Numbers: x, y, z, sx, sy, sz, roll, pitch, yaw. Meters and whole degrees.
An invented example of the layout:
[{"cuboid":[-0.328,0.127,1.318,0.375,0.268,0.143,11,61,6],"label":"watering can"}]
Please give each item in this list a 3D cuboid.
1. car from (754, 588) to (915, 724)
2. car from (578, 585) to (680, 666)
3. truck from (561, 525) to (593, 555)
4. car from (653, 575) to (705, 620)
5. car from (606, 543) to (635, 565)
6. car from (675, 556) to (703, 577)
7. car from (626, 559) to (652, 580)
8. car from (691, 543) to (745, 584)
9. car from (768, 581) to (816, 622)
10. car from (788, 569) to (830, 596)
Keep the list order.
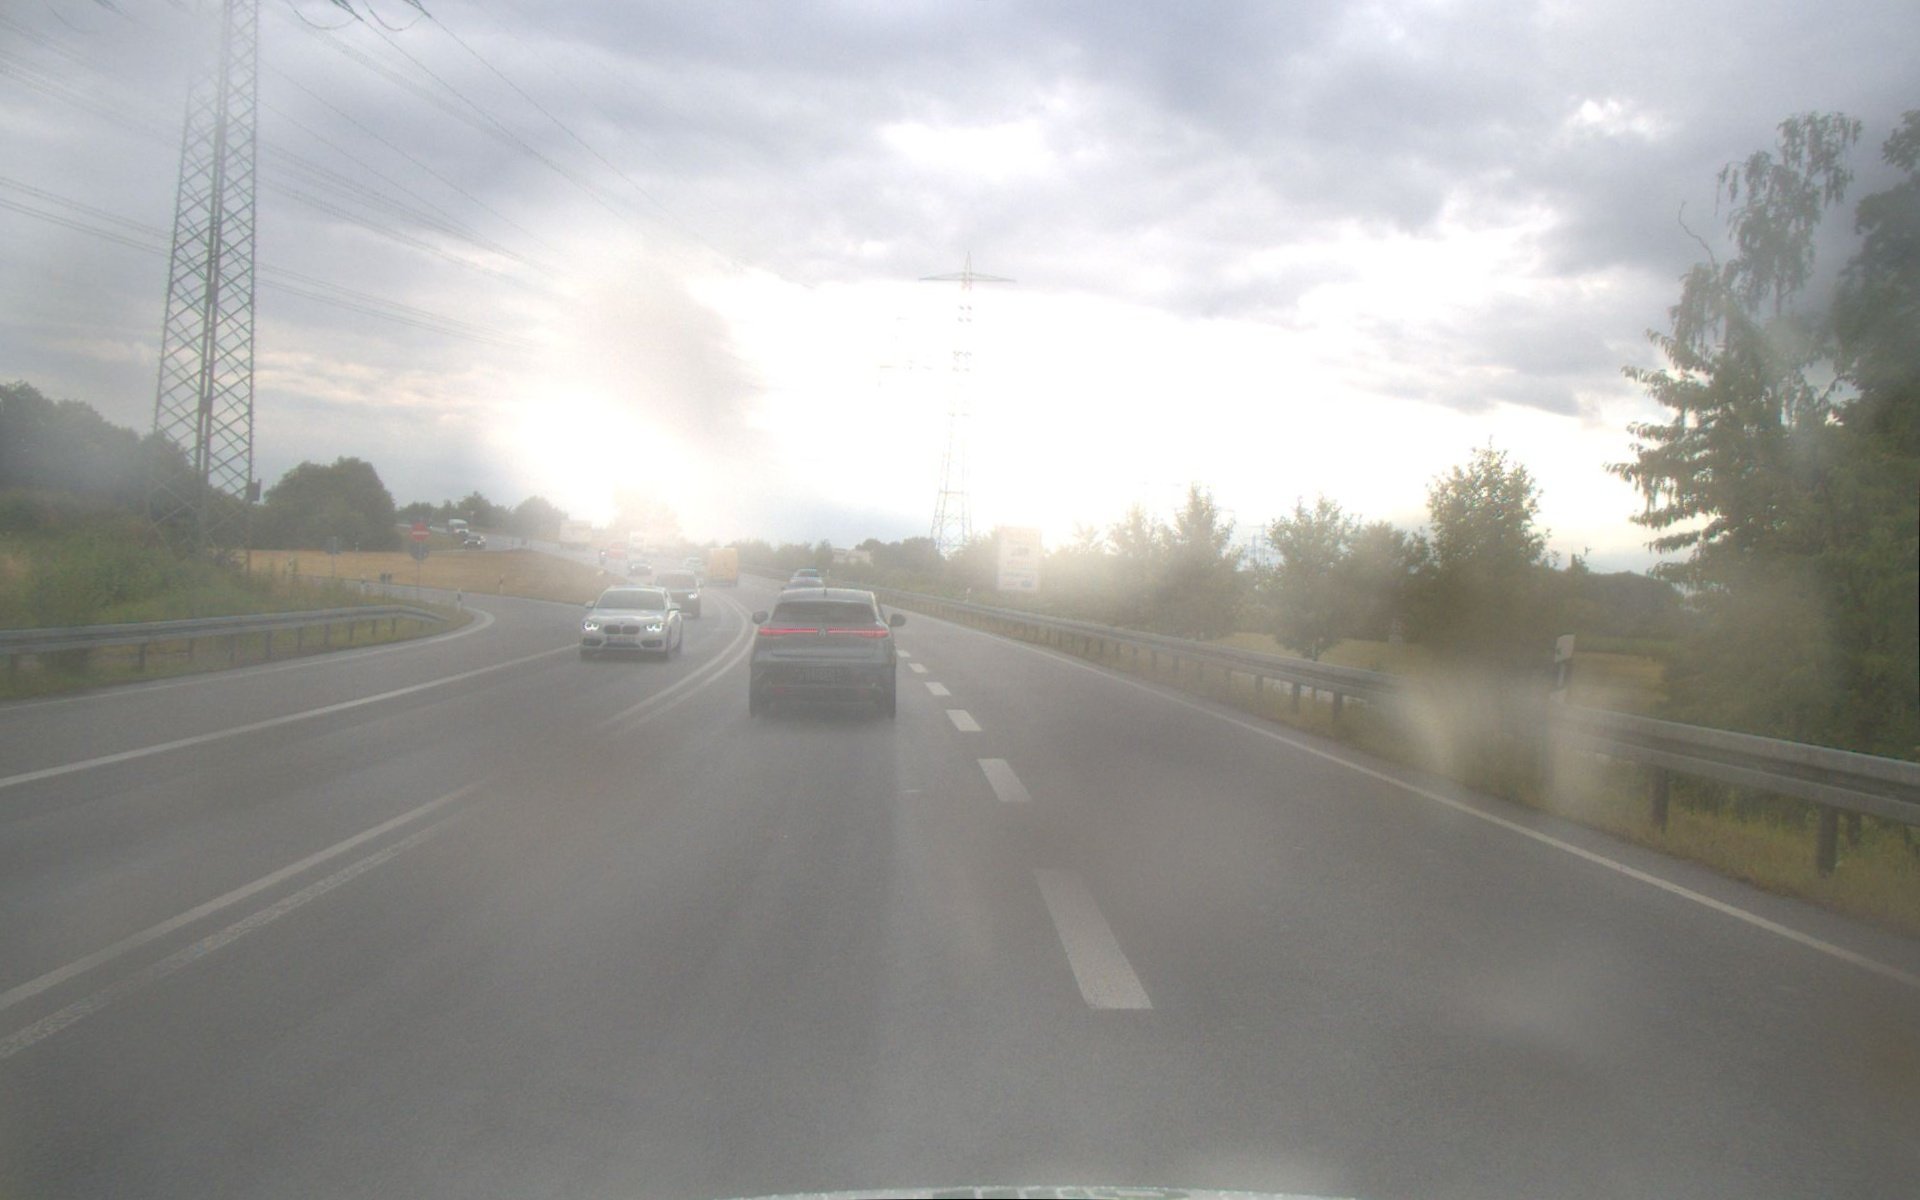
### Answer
[{"cuboid":[-1.584,0.667,20.740,1.756,1.466,3.995,3,-1,-5],"label":"car"},{"cuboid":[-6.713,0.475,33.859,1.647,1.483,4.069,3,0,-7],"label":"car"},{"cuboid":[-47.021,-7.346,202.758,3.000,3.443,7.602,2,0,-19],"label":"truck"},{"cuboid":[-10.386,-0.081,61.337,1.766,1.602,4.251,0,0,-8],"label":"car"},{"cuboid":[-37.077,-5.027,180.514,2.562,2.289,5.507,2,0,-18],"label":"car"},{"cuboid":[-22.642,-2.774,137.968,1.763,1.717,3.981,-1,1,-17],"label":"car"},{"cuboid":[-26.164,-2.490,134.691,1.769,1.621,4.210,1,2,-15],"label":"car"},{"cuboid":[-16.892,-2.504,115.095,2.533,2.773,7.159,0,1,-18],"label":"car"},{"cuboid":[-6.695,0.069,66.179,1.757,1.466,3.996,4,-1,-5],"label":"car"},{"cuboid":[-9.338,-1.117,102.232,1.763,1.568,3.981,2,0,-17],"label":"car"}]
